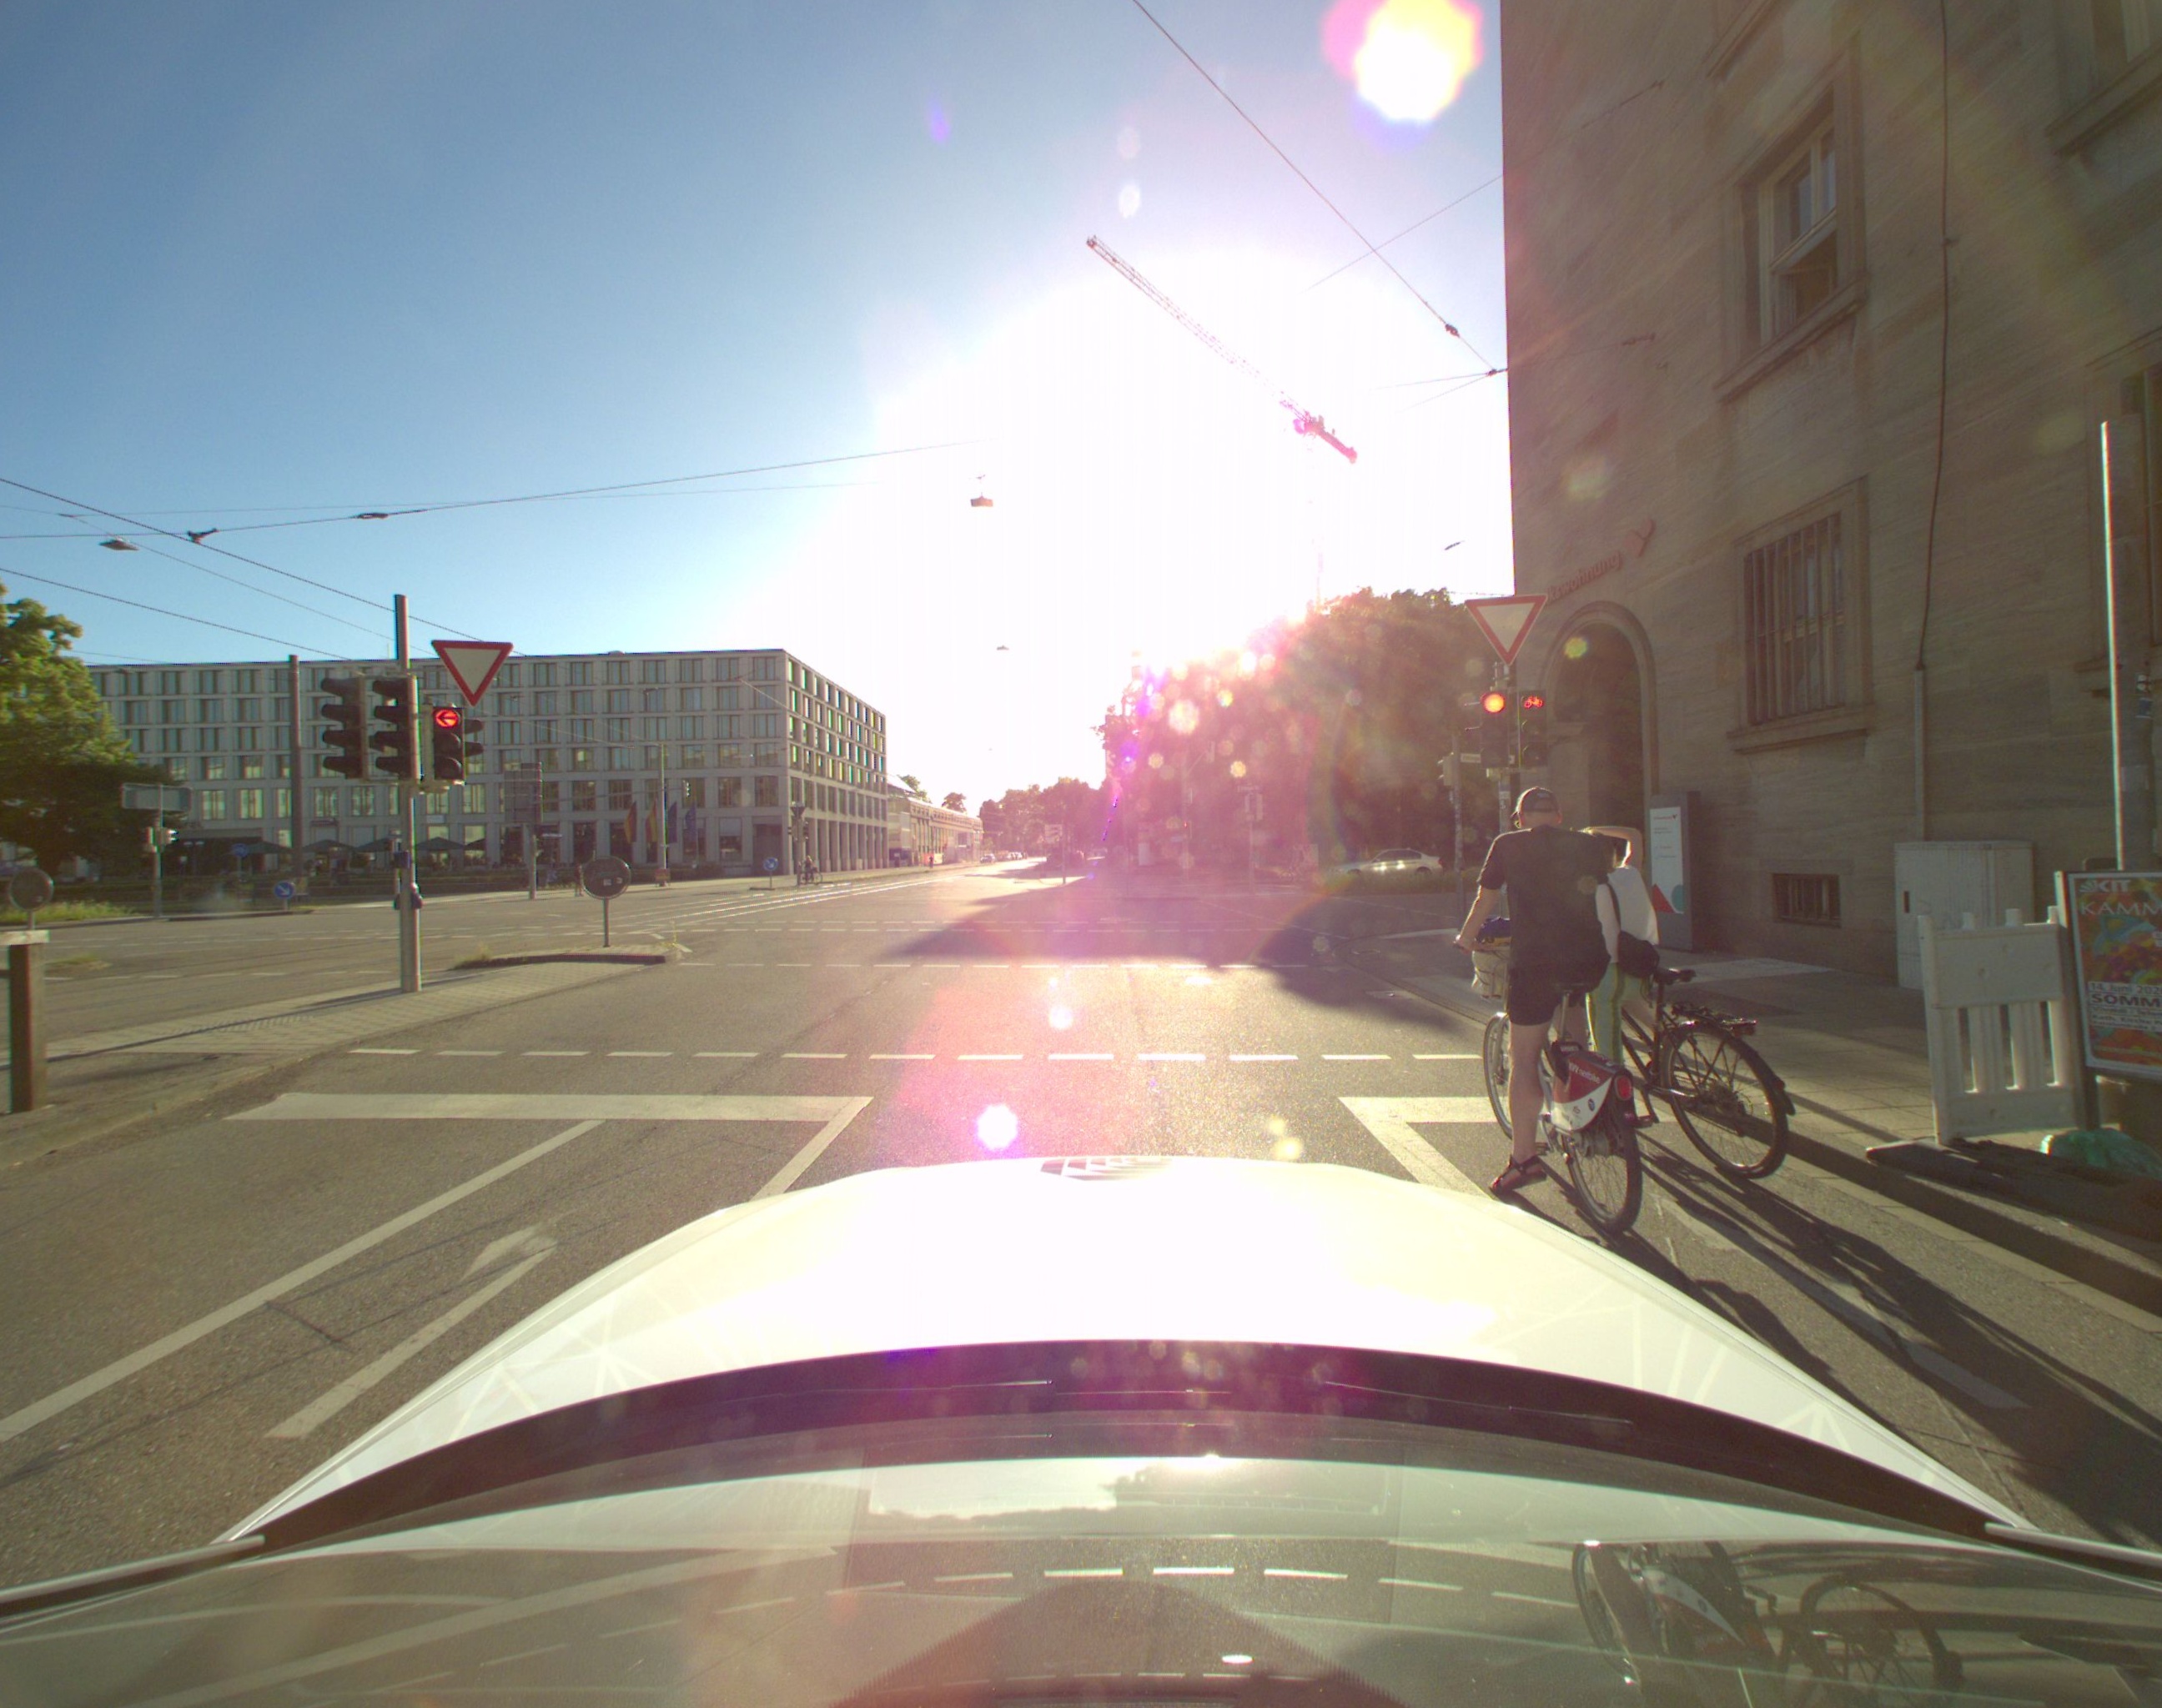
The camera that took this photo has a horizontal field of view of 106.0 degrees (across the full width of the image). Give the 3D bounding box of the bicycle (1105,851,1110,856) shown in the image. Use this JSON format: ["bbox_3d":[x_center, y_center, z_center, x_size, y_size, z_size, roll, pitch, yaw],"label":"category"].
[{"bbox_3d":[6.564,-0.113,200.873,0.890,1.219,2.784,0,-1,-9],"label":"bicycle"}]

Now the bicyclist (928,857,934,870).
[{"bbox_3d":[-17.880,1.120,96.928,0.492,1.498,0.667,-2,0,4],"label":"bicyclist"}]

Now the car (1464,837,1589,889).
[{"bbox_3d":[17.883,0.349,32.848,3.970,2.014,2.002,0,-1,3],"label":"car"}]

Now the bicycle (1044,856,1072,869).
[{"bbox_3d":[-1.894,0.710,67.433,2.240,0.940,0.653,-2,0,-4],"label":"bicycle"}]

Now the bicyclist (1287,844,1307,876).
[{"bbox_3d":[9.621,0.265,36.288,0.742,1.406,0.704,-1,-1,8],"label":"bicyclist"}]

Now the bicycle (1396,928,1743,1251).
[{"bbox_3d":[2.183,0.969,3.950,0.621,1.044,1.747,-2,0,1],"label":"bicycle"}]

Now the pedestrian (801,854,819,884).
[{"bbox_3d":[-14.736,0.794,44.276,0.735,1.595,0.577,-2,0,29],"label":"pedestrian"}]

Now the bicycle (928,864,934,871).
[{"bbox_3d":[-17.862,1.572,96.935,0.492,0.839,1.158,-2,0,4],"label":"bicycle"}]

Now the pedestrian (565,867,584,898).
[{"bbox_3d":[-28.298,1.592,45.538,0.600,1.681,0.608,-2,0,9],"label":"pedestrian"}]

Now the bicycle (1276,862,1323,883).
[{"bbox_3d":[9.714,0.828,36.275,1.932,0.889,0.719,-1,-1,8],"label":"bicycle"}]

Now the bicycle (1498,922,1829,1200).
[{"bbox_3d":[2.964,0.968,4.396,0.579,1.044,1.748,-2,0,3],"label":"bicycle"}]

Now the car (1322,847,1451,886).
[{"bbox_3d":[12.437,0.503,33.406,4.559,1.516,2.001,0,-1,1],"label":"car"}]

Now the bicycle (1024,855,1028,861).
[{"bbox_3d":[-11.979,0.907,177.302,0.748,1.205,3.108,0,-1,1],"label":"bicycle"}]

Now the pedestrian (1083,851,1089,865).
[{"bbox_3d":[0.613,0.443,97.744,0.576,1.689,0.584,-2,0,-6],"label":"pedestrian"}]

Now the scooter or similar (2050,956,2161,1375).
[{"bbox_3d":[3.348,0.878,1.907,0.572,1.150,1.270,0,-2,-4],"label":"scooter or similar"}]

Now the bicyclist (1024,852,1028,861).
[{"bbox_3d":[-11.987,0.528,177.186,0.748,1.920,1.214,0,-1,1],"label":"bicyclist"}]

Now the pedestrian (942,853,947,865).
[{"bbox_3d":[-21.804,0.823,129.939,0.583,1.889,0.480,-1,-1,14],"label":"pedestrian"}]

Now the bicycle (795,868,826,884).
[{"bbox_3d":[-14.693,1.183,44.253,1.696,0.823,0.577,-2,0,29],"label":"bicycle"}]

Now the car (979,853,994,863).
[{"bbox_3d":[-15.813,0.710,136.868,1.988,1.599,3.999,-2,0,-1],"label":"car"}]

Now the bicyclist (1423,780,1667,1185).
[{"bbox_3d":[2.176,0.548,3.940,0.621,1.715,0.913,-2,0,1],"label":"bicyclist"}]

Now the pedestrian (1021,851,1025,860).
[{"bbox_3d":[-12.286,0.312,172.321,0.746,2.063,1.052,0,-1,7],"label":"pedestrian"}]

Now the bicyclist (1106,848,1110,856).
[{"bbox_3d":[6.612,-0.540,200.660,0.891,2.014,0.746,0,-1,-10],"label":"bicyclist"}]

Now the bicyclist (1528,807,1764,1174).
[{"bbox_3d":[2.955,0.653,4.362,0.581,1.738,0.951,-2,0,2],"label":"bicyclist"}]

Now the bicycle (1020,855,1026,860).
[{"bbox_3d":[-12.287,0.737,172.250,0.746,1.205,3.114,0,-1,7],"label":"bicycle"}]
